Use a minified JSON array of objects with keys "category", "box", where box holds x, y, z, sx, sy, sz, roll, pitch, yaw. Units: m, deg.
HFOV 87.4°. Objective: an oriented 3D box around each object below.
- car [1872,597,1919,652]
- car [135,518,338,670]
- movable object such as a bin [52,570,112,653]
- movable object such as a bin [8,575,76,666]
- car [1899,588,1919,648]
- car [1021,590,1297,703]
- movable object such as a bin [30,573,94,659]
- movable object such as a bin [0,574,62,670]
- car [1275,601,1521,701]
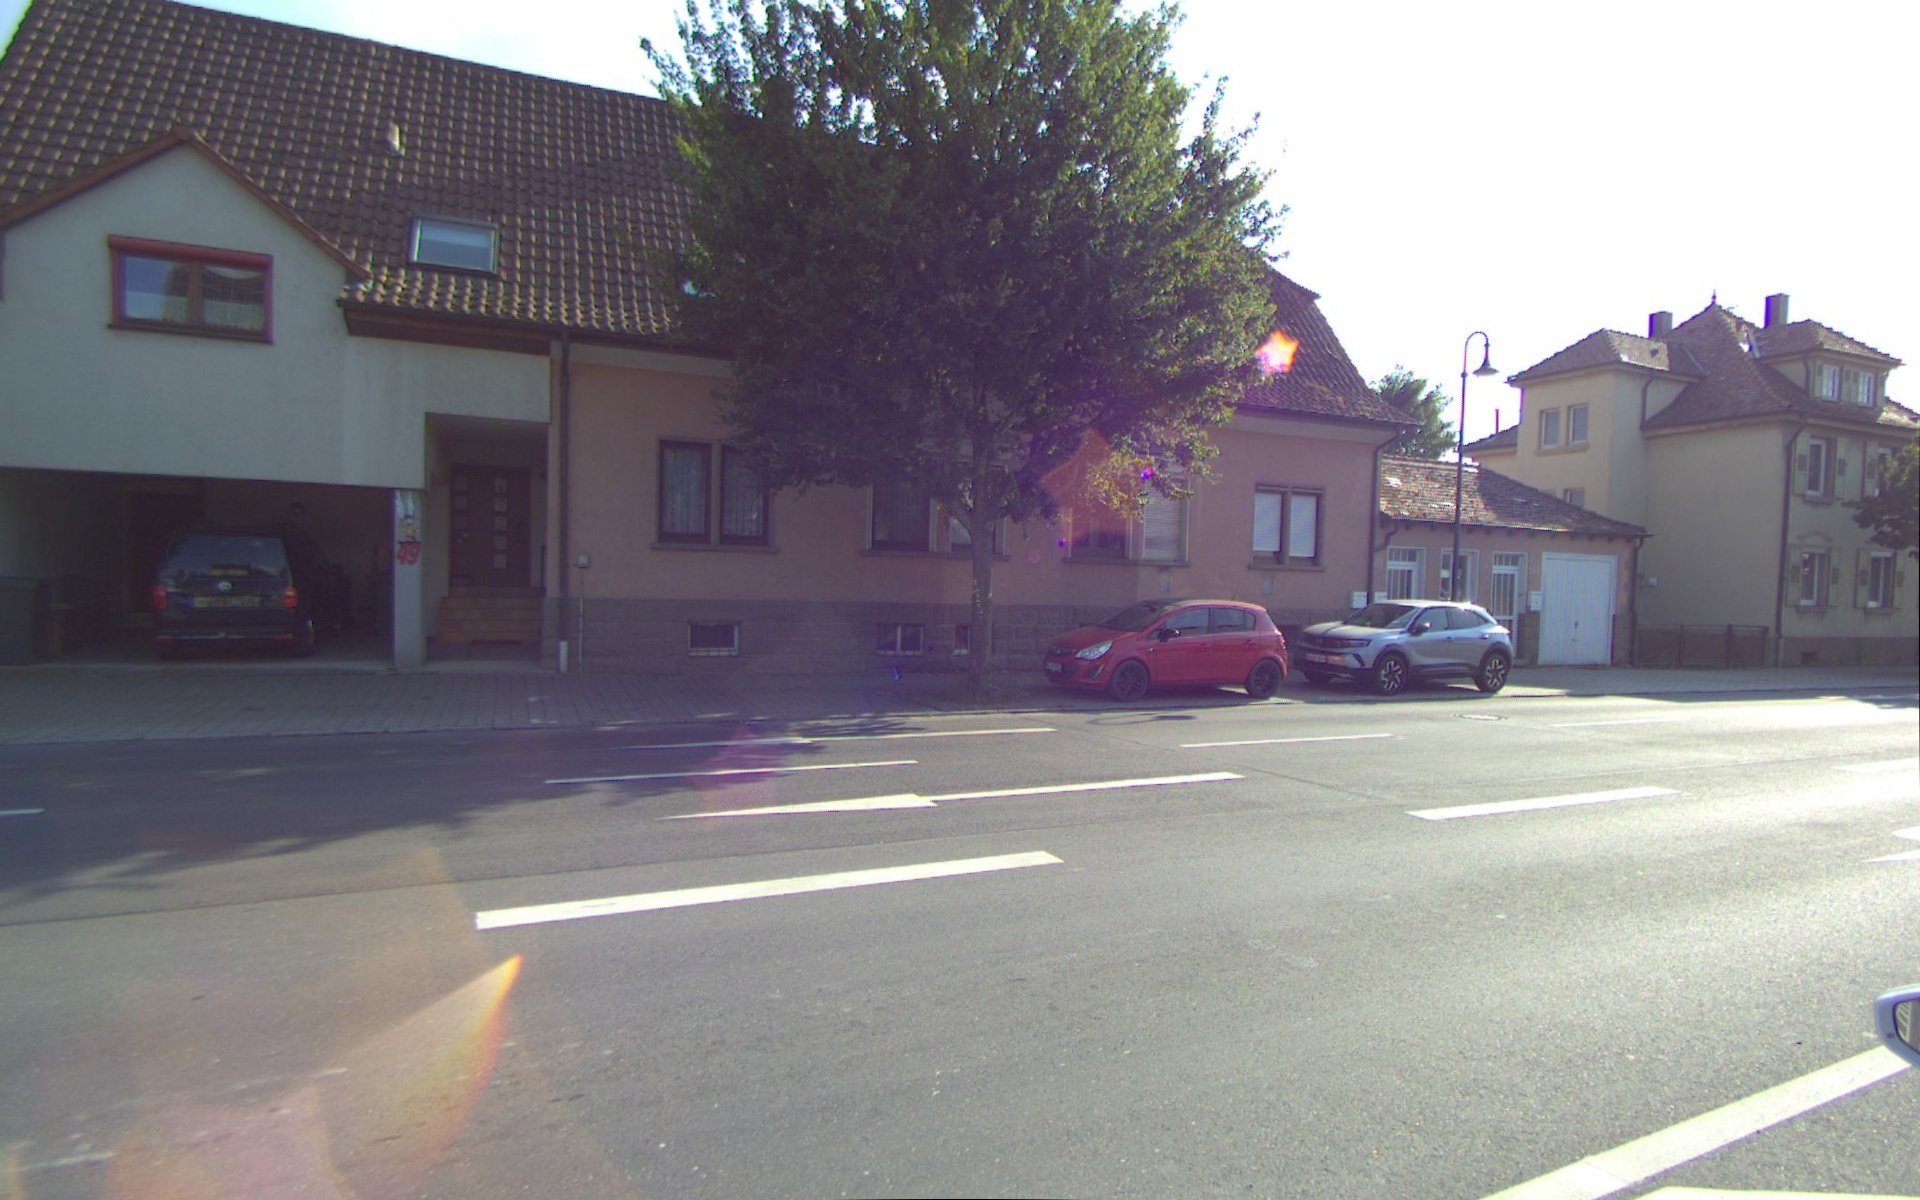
[{"category":"car","box":[37.248,0.997,37.026,1.910,2.026,4.958,1,2,-26]},{"category":"car","box":[-10.402,-0.153,14.741,1.755,1.906,3.808,1,3,-26]},{"category":"movable object such as a bin","box":[-12.639,0.158,14.472,0.570,1.158,0.562,0,1,-33]},{"category":"movable object such as a bin","box":[-12.080,0.262,13.235,0.570,1.158,0.562,0,1,-33]},{"category":"car","box":[42.000,0.838,40.283,2.164,2.513,5.901,0,2,-25]},{"category":"car","box":[3.096,0.679,15.649,3.943,1.507,1.661,1,3,-24]},{"category":"movable object such as a bin","box":[-12.377,0.208,13.858,0.570,1.158,0.562,0,1,-33]},{"category":"movable object such as a bin","box":[-11.632,0.262,12.517,0.570,1.158,0.562,0,1,-33]},{"category":"car","box":[7.748,0.835,17.768,3.945,1.499,1.750,0,4,-25]}]
